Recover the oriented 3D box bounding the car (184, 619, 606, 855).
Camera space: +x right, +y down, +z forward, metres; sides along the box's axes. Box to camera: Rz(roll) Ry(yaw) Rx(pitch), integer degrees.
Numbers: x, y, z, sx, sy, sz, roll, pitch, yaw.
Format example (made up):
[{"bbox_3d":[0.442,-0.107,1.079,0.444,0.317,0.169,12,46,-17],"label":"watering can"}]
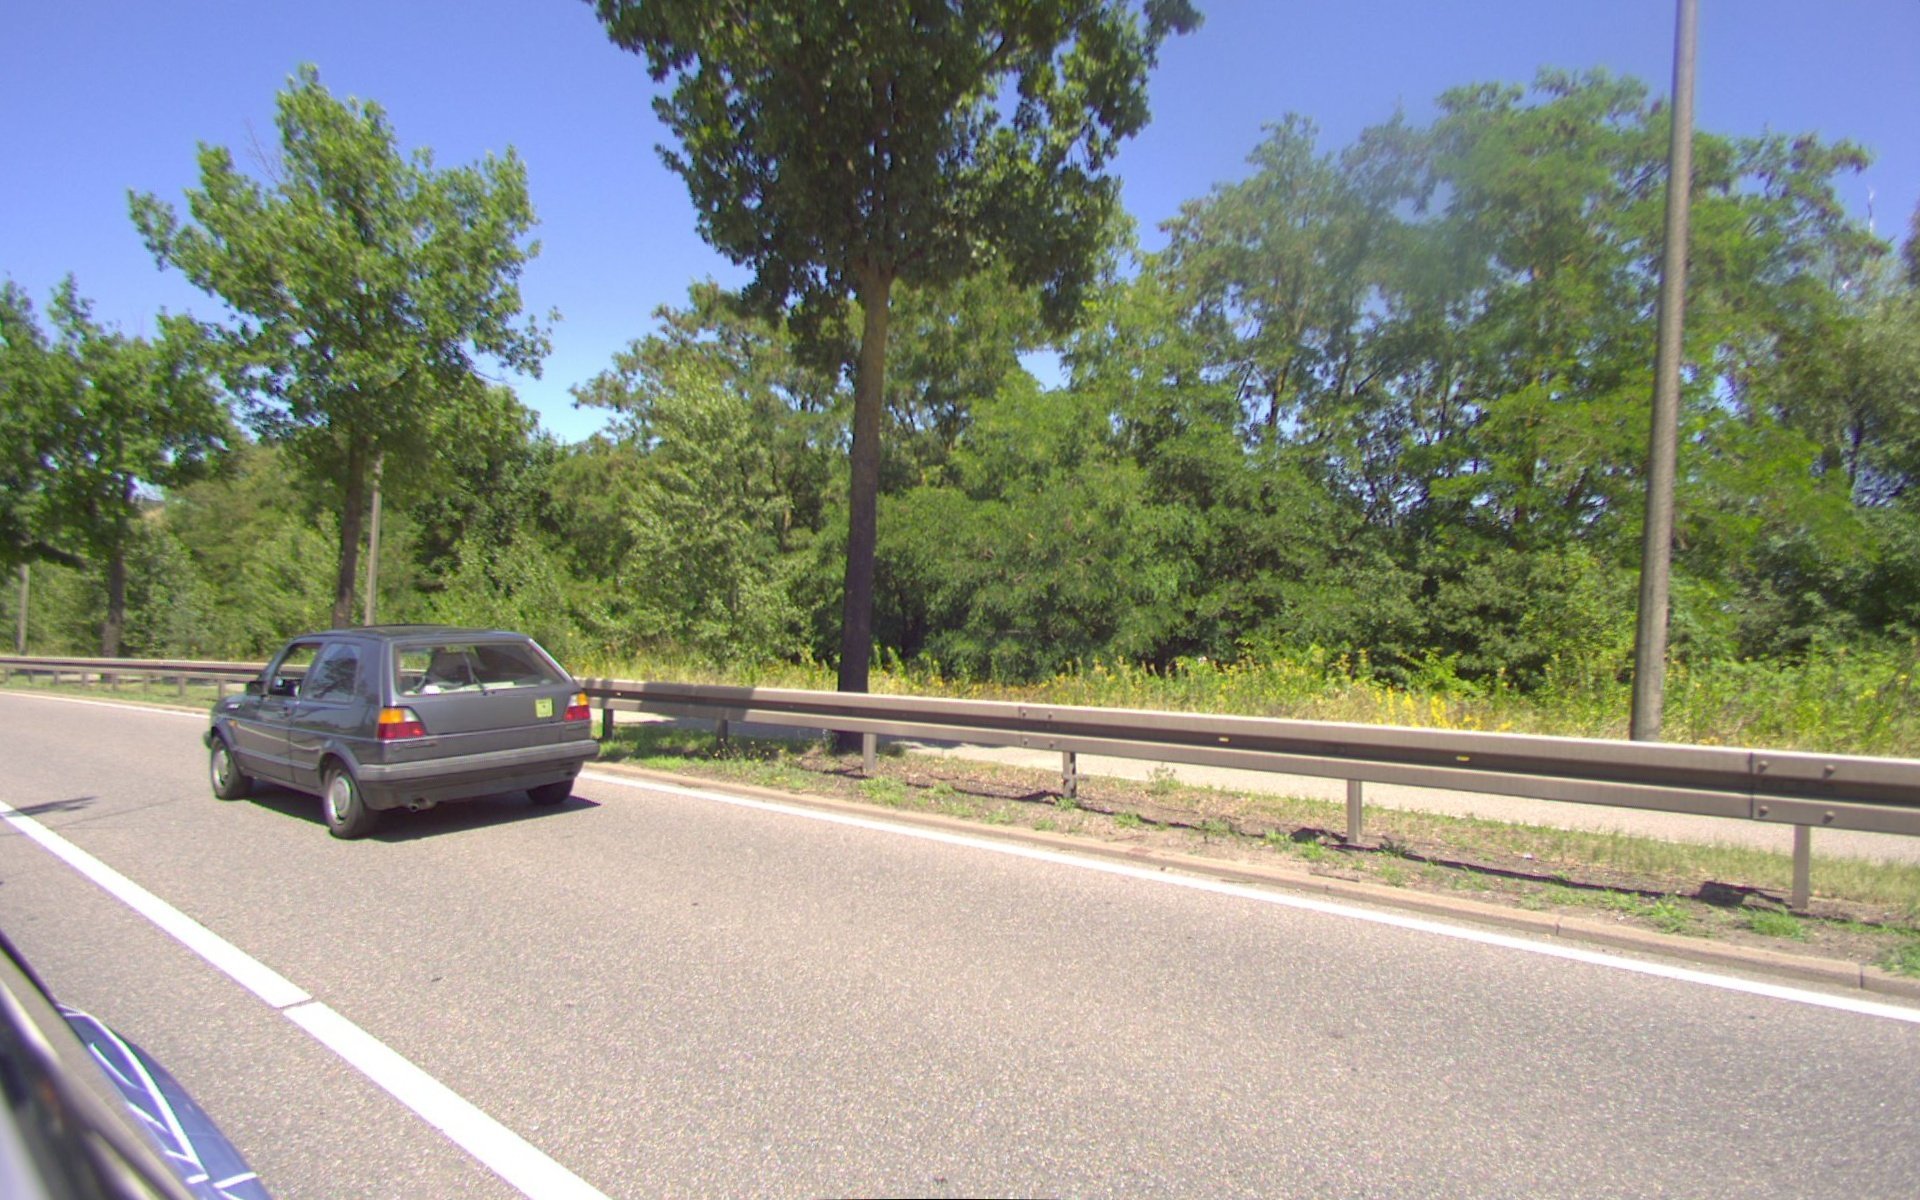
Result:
[{"bbox_3d":[-4.537,0.860,7.889,3.884,1.382,1.541,-1,-1,39],"label":"car"}]
